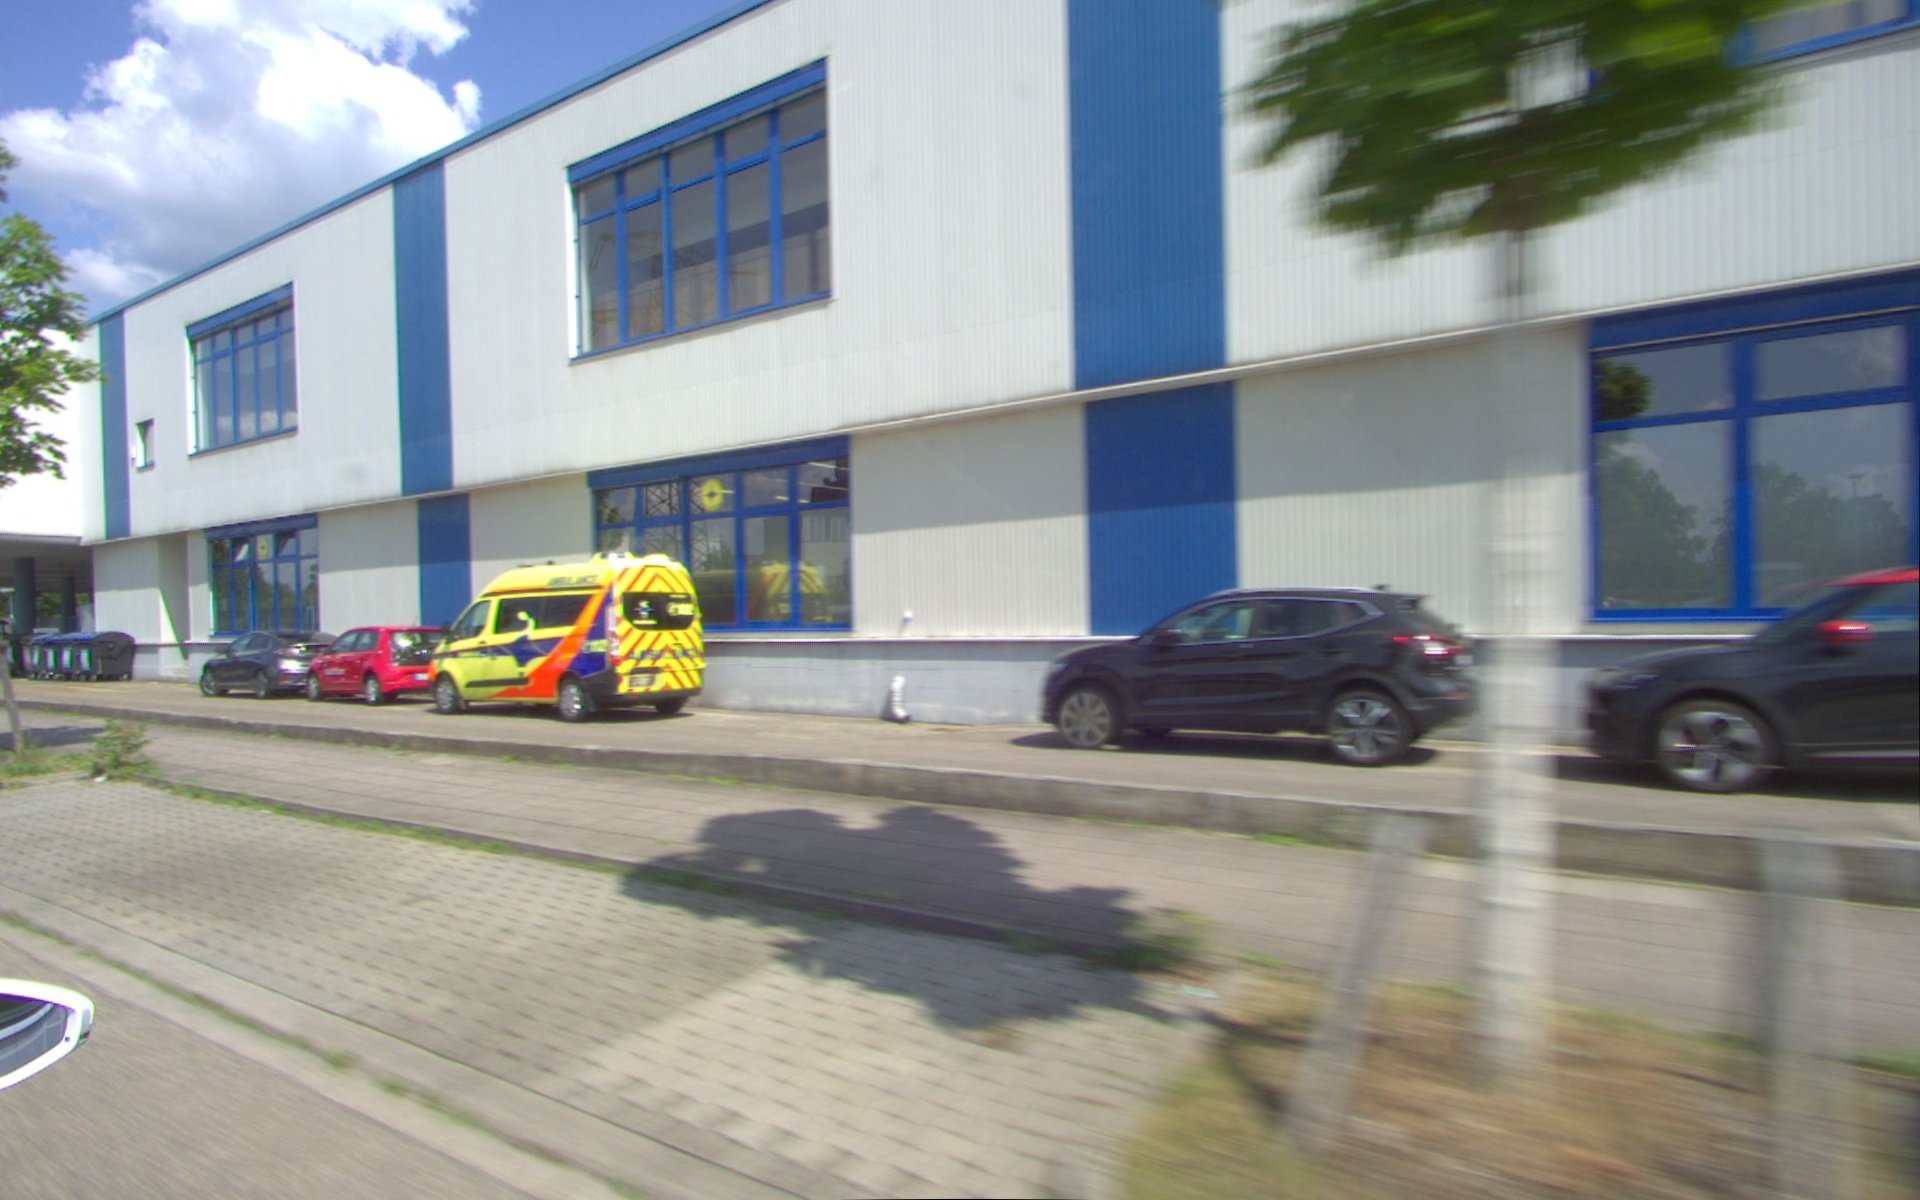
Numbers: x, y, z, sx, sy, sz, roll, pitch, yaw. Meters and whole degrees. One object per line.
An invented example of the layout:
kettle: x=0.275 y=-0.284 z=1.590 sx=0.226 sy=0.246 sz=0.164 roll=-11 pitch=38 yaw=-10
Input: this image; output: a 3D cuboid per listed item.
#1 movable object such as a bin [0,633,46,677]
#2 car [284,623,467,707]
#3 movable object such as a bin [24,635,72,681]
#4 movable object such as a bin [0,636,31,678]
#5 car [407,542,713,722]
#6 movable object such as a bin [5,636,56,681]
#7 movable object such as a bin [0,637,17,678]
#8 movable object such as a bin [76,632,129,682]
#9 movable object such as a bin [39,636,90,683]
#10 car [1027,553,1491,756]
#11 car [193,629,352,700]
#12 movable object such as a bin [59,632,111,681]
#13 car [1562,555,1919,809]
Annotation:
movable object such as a bin: x=-31.253 y=1.825 z=33.348 sx=1.385 sy=1.431 sz=0.803 roll=-2 pitch=-2 yaw=30
car: x=-11.463 y=1.258 z=19.585 sx=3.763 sy=1.509 sz=1.570 roll=-2 pitch=-3 yaw=32
movable object such as a bin: x=-28.807 y=1.841 z=31.634 sx=1.157 sy=1.431 sz=0.803 roll=-2 pitch=-2 yaw=30
movable object such as a bin: x=-32.427 y=1.941 z=34.092 sx=1.338 sy=1.431 sz=0.803 roll=-2 pitch=-2 yaw=30
car: x=-6.517 y=0.565 z=16.104 sx=5.186 sy=2.494 sz=1.920 roll=-2 pitch=-3 yaw=32
movable object such as a bin: x=-30.038 y=1.889 z=32.361 sx=1.406 sy=1.431 sz=0.803 roll=-2 pitch=-2 yaw=30
movable object such as a bin: x=-33.648 y=2.007 z=34.887 sx=1.338 sy=1.431 sz=0.803 roll=-2 pitch=-2 yaw=30
movable object such as a bin: x=-25.203 y=1.665 z=29.434 sx=1.338 sy=1.431 sz=0.803 roll=-2 pitch=-2 yaw=32
movable object such as a bin: x=-27.692 y=1.845 z=30.963 sx=1.338 sy=1.431 sz=0.803 roll=-2 pitch=-2 yaw=32
car: x=2.918 y=0.560 z=10.098 sx=4.156 sy=1.672 sz=1.711 roll=-3 pitch=-2 yaw=32
car: x=-14.987 y=1.386 z=21.776 sx=3.800 sy=1.421 sz=1.493 roll=-2 pitch=-3 yaw=32
movable object such as a bin: x=-26.411 y=1.699 z=30.230 sx=1.338 sy=1.431 sz=0.803 roll=-2 pitch=-2 yaw=32
car: x=6.963 y=0.555 z=7.400 sx=4.231 sy=1.678 sz=1.990 roll=-4 pitch=-3 yaw=32
